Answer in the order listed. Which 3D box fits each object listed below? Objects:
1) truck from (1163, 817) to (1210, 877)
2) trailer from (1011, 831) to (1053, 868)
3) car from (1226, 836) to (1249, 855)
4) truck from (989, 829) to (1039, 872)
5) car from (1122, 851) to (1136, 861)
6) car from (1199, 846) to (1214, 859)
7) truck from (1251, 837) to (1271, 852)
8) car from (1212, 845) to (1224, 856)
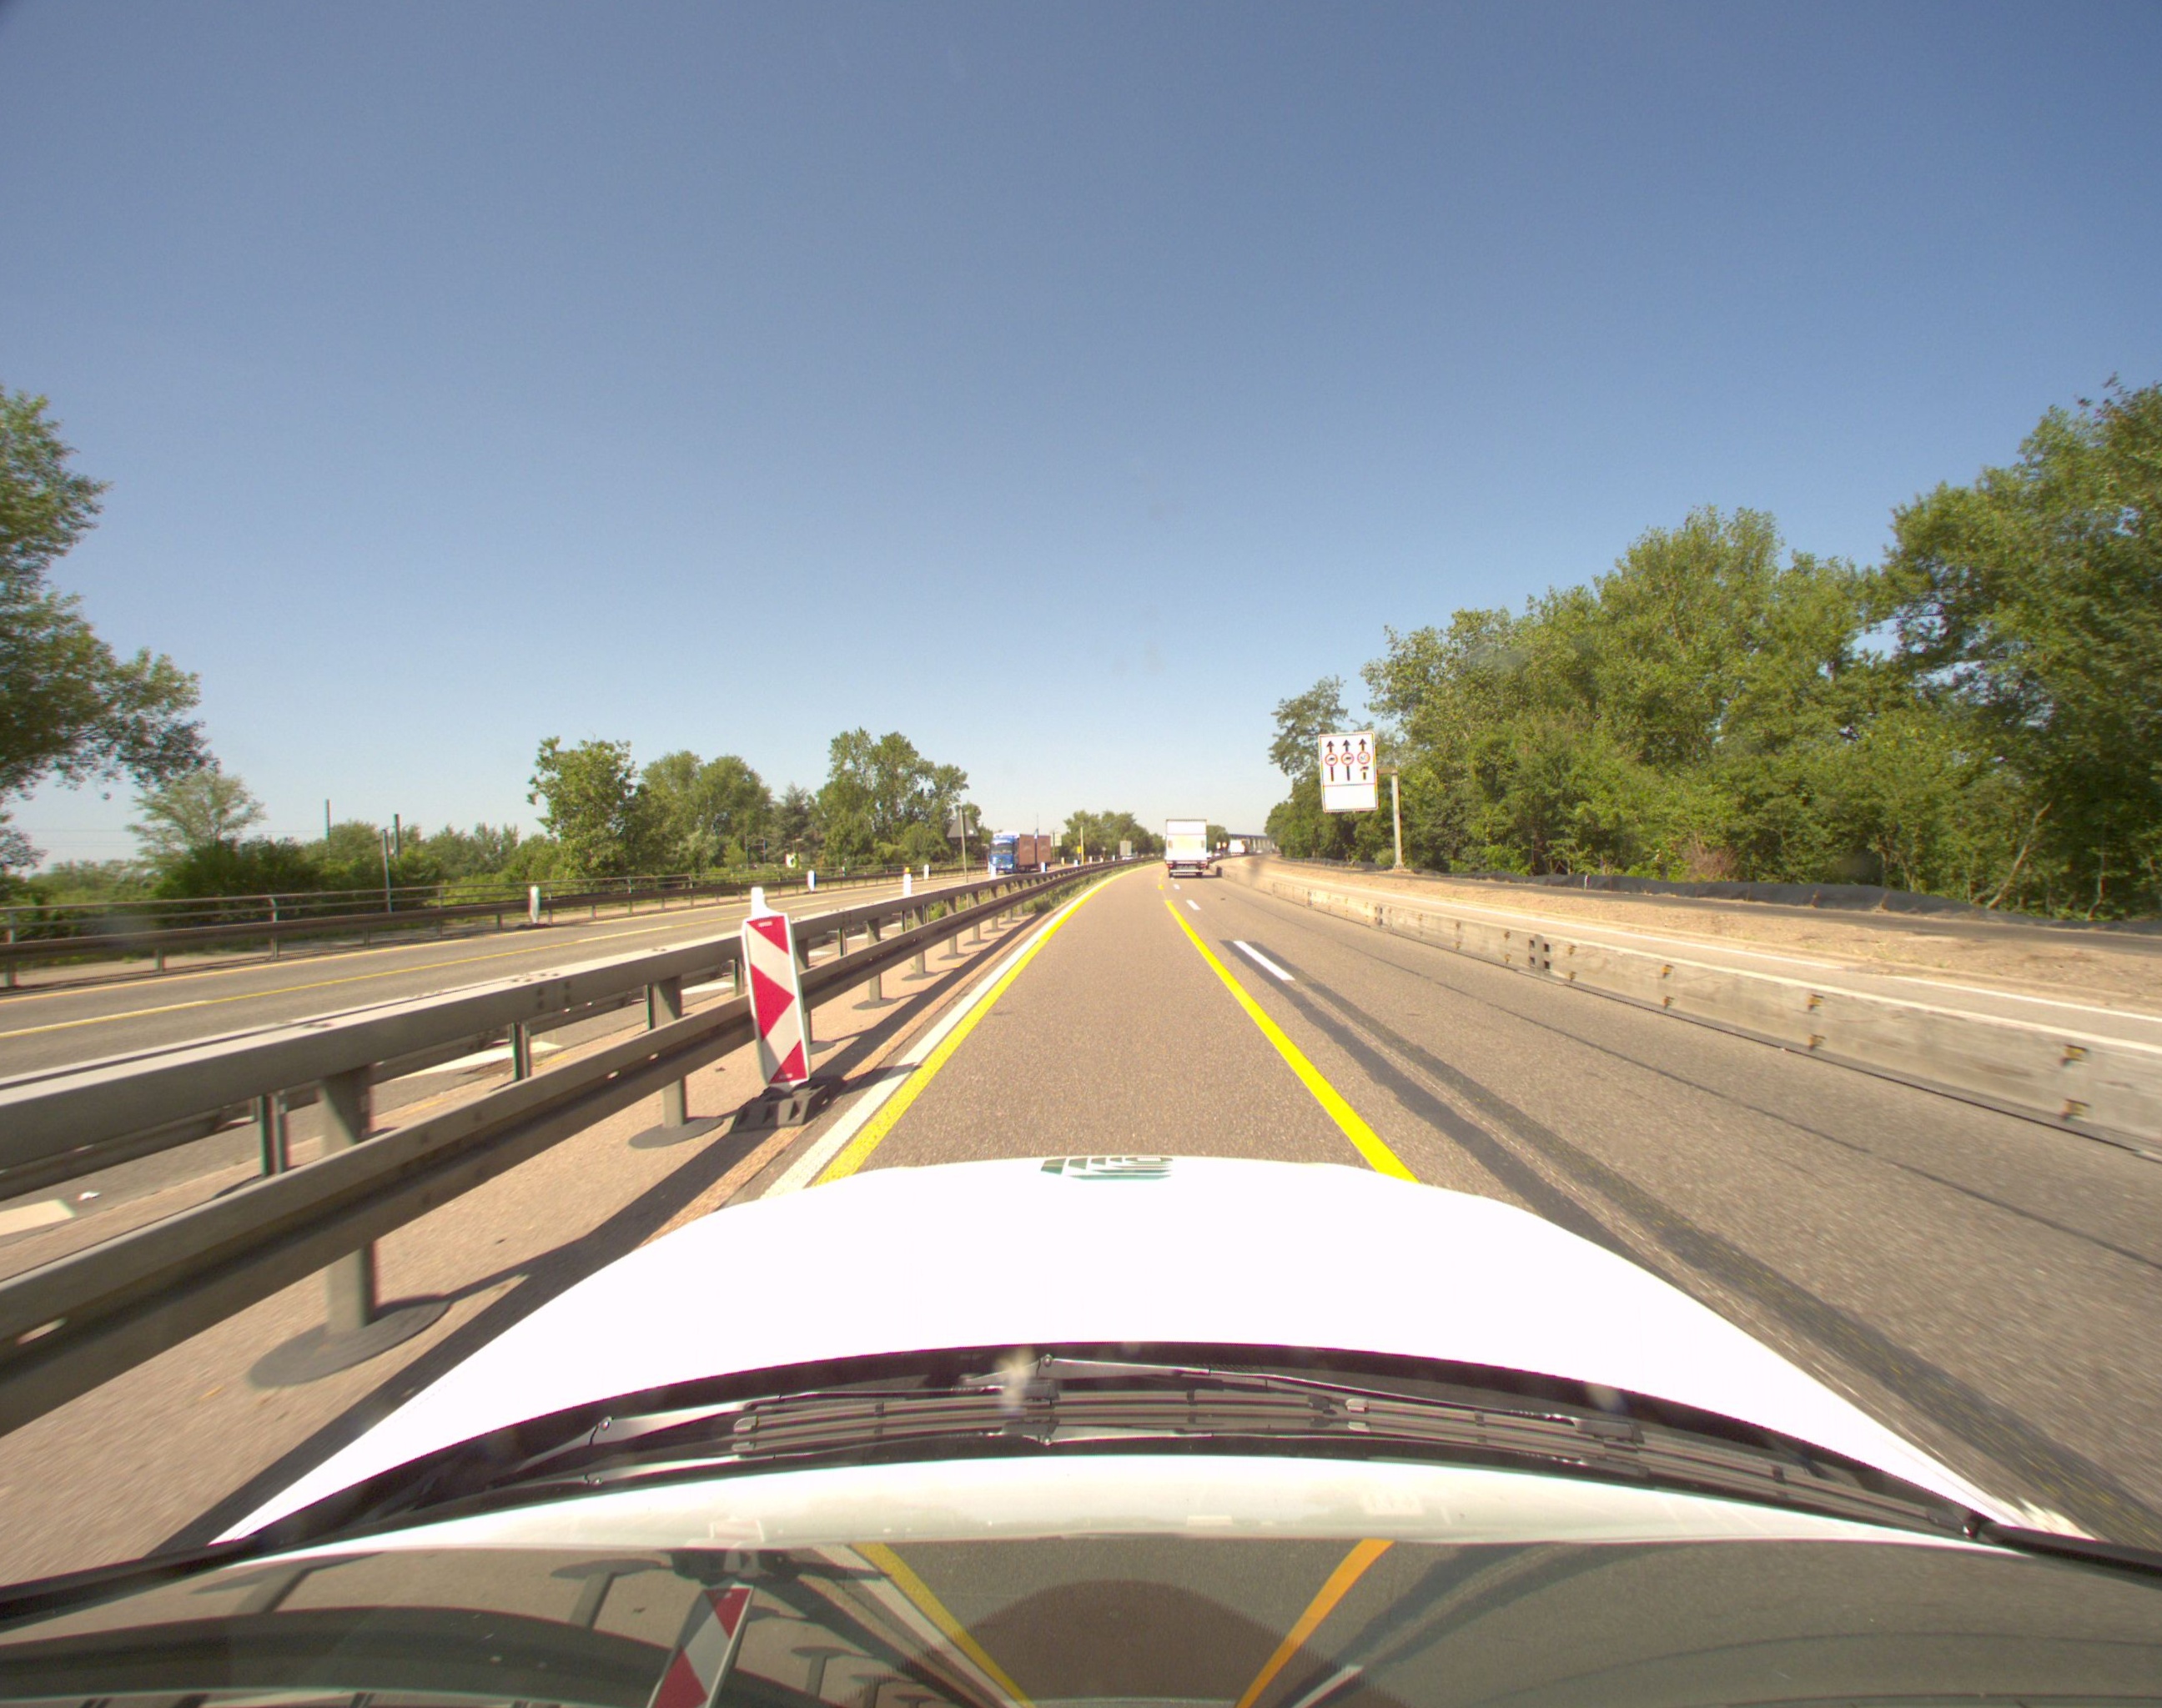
[{"bbox_3d":[6.365,-0.433,49.636,2.621,3.427,7.246,0,0,6],"label":"truck"},{"bbox_3d":[-5.508,-0.554,93.763,3.022,4.091,9.808,-1,1,7],"label":"trailer"},{"bbox_3d":[38.223,-2.045,198.272,4.174,4.251,10.711,-3,0,17],"label":"car"},{"bbox_3d":[-6.706,-0.425,83.450,3.022,4.091,10.645,-1,1,7],"label":"truck"},{"bbox_3d":[8.780,0.310,148.319,1.897,1.651,4.388,-3,0,10],"label":"car"},{"bbox_3d":[21.402,-0.323,138.537,1.979,2.013,4.016,-3,0,14],"label":"car"},{"bbox_3d":[56.067,-2.964,253.304,4.182,4.266,10.299,-3,0,23],"label":"truck"},{"bbox_3d":[27.067,-0.720,160.620,1.979,2.013,4.015,-3,0,13],"label":"car"}]
